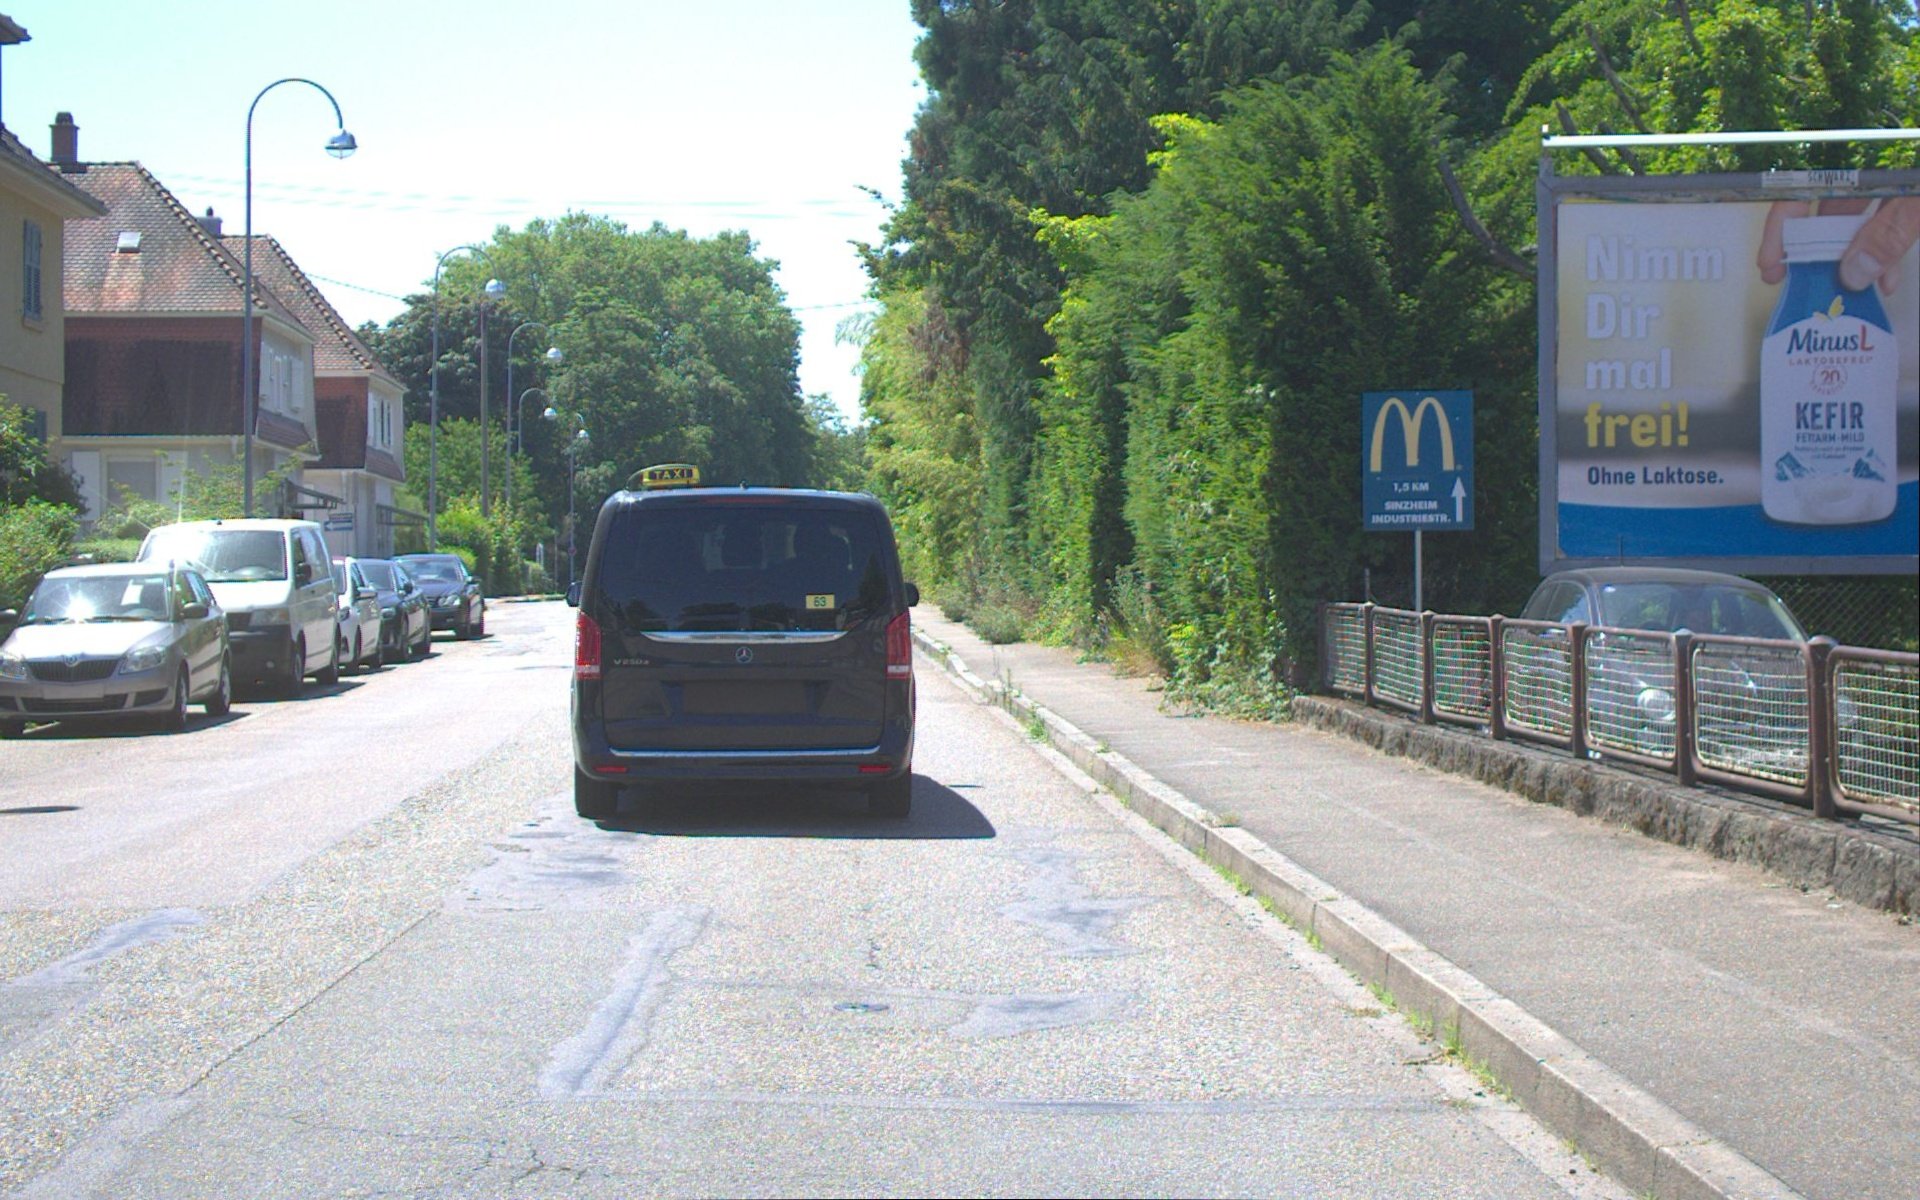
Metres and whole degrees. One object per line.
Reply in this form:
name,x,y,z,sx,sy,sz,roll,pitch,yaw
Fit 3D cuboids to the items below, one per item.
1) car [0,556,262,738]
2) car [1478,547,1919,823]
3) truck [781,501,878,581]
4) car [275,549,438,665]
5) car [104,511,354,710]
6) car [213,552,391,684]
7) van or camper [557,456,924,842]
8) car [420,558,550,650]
car,-7.614,0.375,31.453,1.686,1.520,4.063,0,1,-1
car,4.421,0.451,21.014,1.631,1.454,3.557,3,1,-5
truck,-3.837,-1.701,100.278,2.355,2.251,6.093,0,1,-6
car,-8.250,0.061,47.324,1.666,1.487,4.466,0,1,-3
car,-7.902,0.061,37.580,1.878,1.956,4.626,-3,1,-3
car,-8.208,0.192,43.124,1.666,1.487,3.478,-3,1,-3
van or camper,-1.276,0.224,20.699,1.902,2.007,5.271,1,1,-3
car,-7.862,0.033,57.229,1.666,1.381,4.381,-2,1,-2
